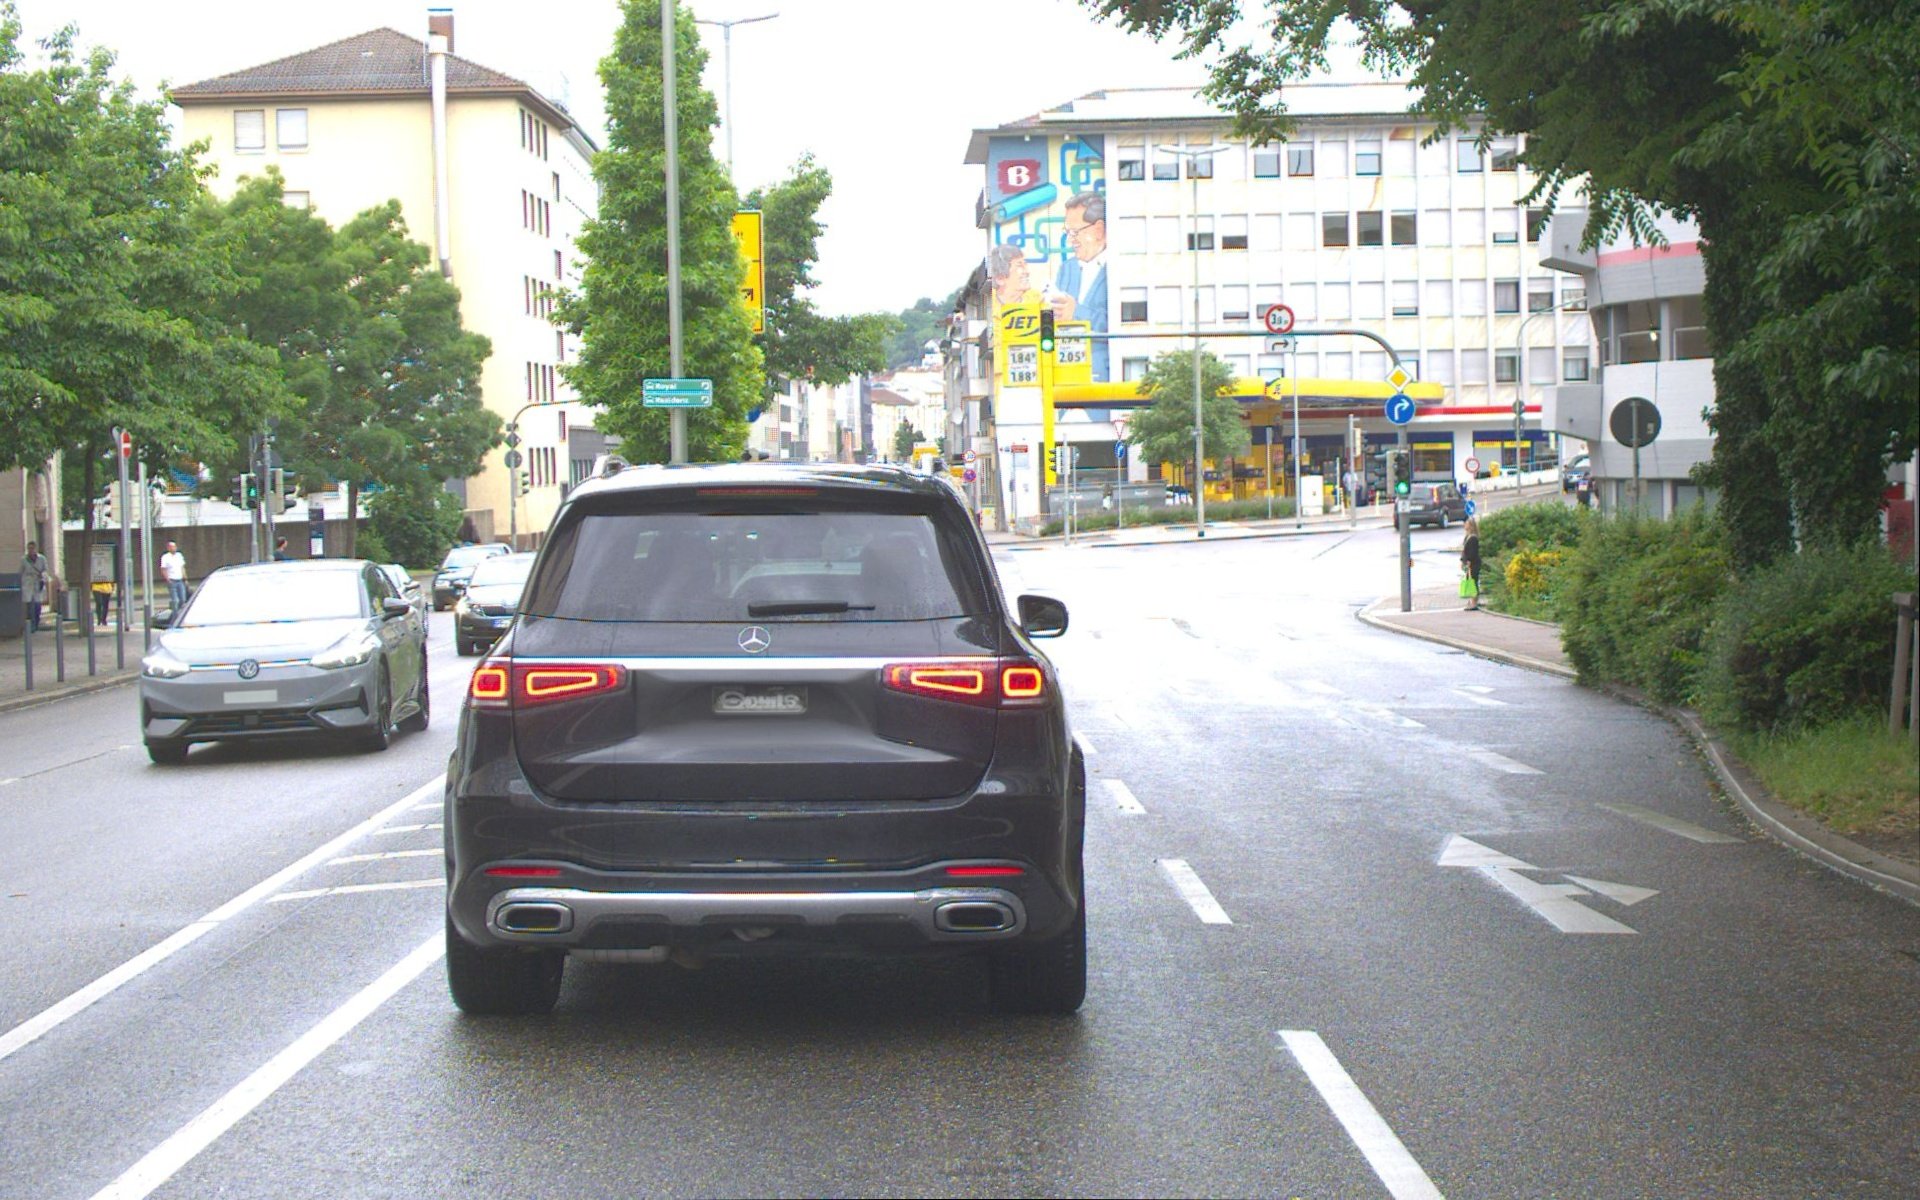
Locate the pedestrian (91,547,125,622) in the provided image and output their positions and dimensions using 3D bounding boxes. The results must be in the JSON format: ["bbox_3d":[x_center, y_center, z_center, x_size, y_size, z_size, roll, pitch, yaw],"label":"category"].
[{"bbox_3d":[-17.808,-0.324,71.892,0.439,1.528,0.545,-1,2,14],"label":"pedestrian"}]

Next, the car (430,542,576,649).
[{"bbox_3d":[-6.944,-0.086,52.552,1.811,1.457,4.289,-3,1,-3],"label":"car"}]

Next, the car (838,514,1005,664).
[{"bbox_3d":[-0.490,-0.147,43.540,1.993,1.794,4.000,1,0,-1],"label":"car"}]

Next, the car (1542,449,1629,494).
[{"bbox_3d":[25.199,-5.179,138.341,1.997,1.700,3.993,-1,2,33],"label":"car"}]

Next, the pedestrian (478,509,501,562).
[{"bbox_3d":[-15.550,-2.135,113.704,0.648,1.721,0.629,-2,2,-4],"label":"pedestrian"}]

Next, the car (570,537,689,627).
[{"bbox_3d":[-7.287,-0.429,76.141,1.891,1.805,4.574,-3,1,3],"label":"car"}]

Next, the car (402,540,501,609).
[{"bbox_3d":[-11.423,-0.593,77.421,1.745,1.407,3.971,-3,1,-2],"label":"car"}]

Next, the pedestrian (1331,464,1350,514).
[{"bbox_3d":[13.278,-3.874,120.104,0.572,1.691,0.631,1,0,1],"label":"pedestrian"}]

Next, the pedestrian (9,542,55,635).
[{"bbox_3d":[-16.764,-0.217,62.123,0.642,1.660,1.019,1,0,-6],"label":"pedestrian"}]

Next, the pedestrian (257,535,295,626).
[{"bbox_3d":[-13.432,-0.389,67.517,0.687,1.751,0.718,-1,2,-11],"label":"pedestrian"}]

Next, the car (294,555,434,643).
[{"bbox_3d":[-10.465,-0.045,60.638,1.829,1.383,4.230,-3,1,-2],"label":"car"}]

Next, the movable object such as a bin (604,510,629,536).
[{"bbox_3d":[-14.061,-3.151,140.815,0.910,1.034,0.844,1,0,1],"label":"movable object such as a bin"}]

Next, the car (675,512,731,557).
[{"bbox_3d":[-9.814,-2.508,131.369,1.888,1.581,4.537,-3,1,-2],"label":"car"}]

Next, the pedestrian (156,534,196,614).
[{"bbox_3d":[-16.414,-0.548,71.983,0.689,1.650,0.613,-2,2,-7],"label":"pedestrian"}]

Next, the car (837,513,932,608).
[{"bbox_3d":[-1.631,-0.853,75.015,1.993,2.007,4.000,1,0,-1],"label":"car"}]

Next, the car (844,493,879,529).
[{"bbox_3d":[-5.933,-5.353,207.174,1.993,2.007,4.000,1,0,0],"label":"car"}]

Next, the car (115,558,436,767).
[{"bbox_3d":[-5.513,0.446,28.237,1.883,1.492,4.563,-2,1,-3],"label":"car"}]

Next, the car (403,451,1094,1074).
[{"bbox_3d":[-0.640,0.463,12.043,1.993,1.794,4.000,1,0,-1],"label":"car"}]

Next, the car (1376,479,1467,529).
[{"bbox_3d":[14.748,-3.058,109.665,1.798,1.520,4.051,1,2,24],"label":"car"}]

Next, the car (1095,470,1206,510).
[{"bbox_3d":[7.091,-4.120,128.409,1.732,1.371,3.998,-3,2,-44],"label":"car"}]

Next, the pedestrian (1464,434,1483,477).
[{"bbox_3d":[20.395,-5.739,136.619,0.526,1.721,0.688,0,2,26],"label":"pedestrian"}]

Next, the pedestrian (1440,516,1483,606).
[{"bbox_3d":[9.522,-0.733,65.237,0.646,1.704,0.470,0,0,36],"label":"pedestrian"}]
